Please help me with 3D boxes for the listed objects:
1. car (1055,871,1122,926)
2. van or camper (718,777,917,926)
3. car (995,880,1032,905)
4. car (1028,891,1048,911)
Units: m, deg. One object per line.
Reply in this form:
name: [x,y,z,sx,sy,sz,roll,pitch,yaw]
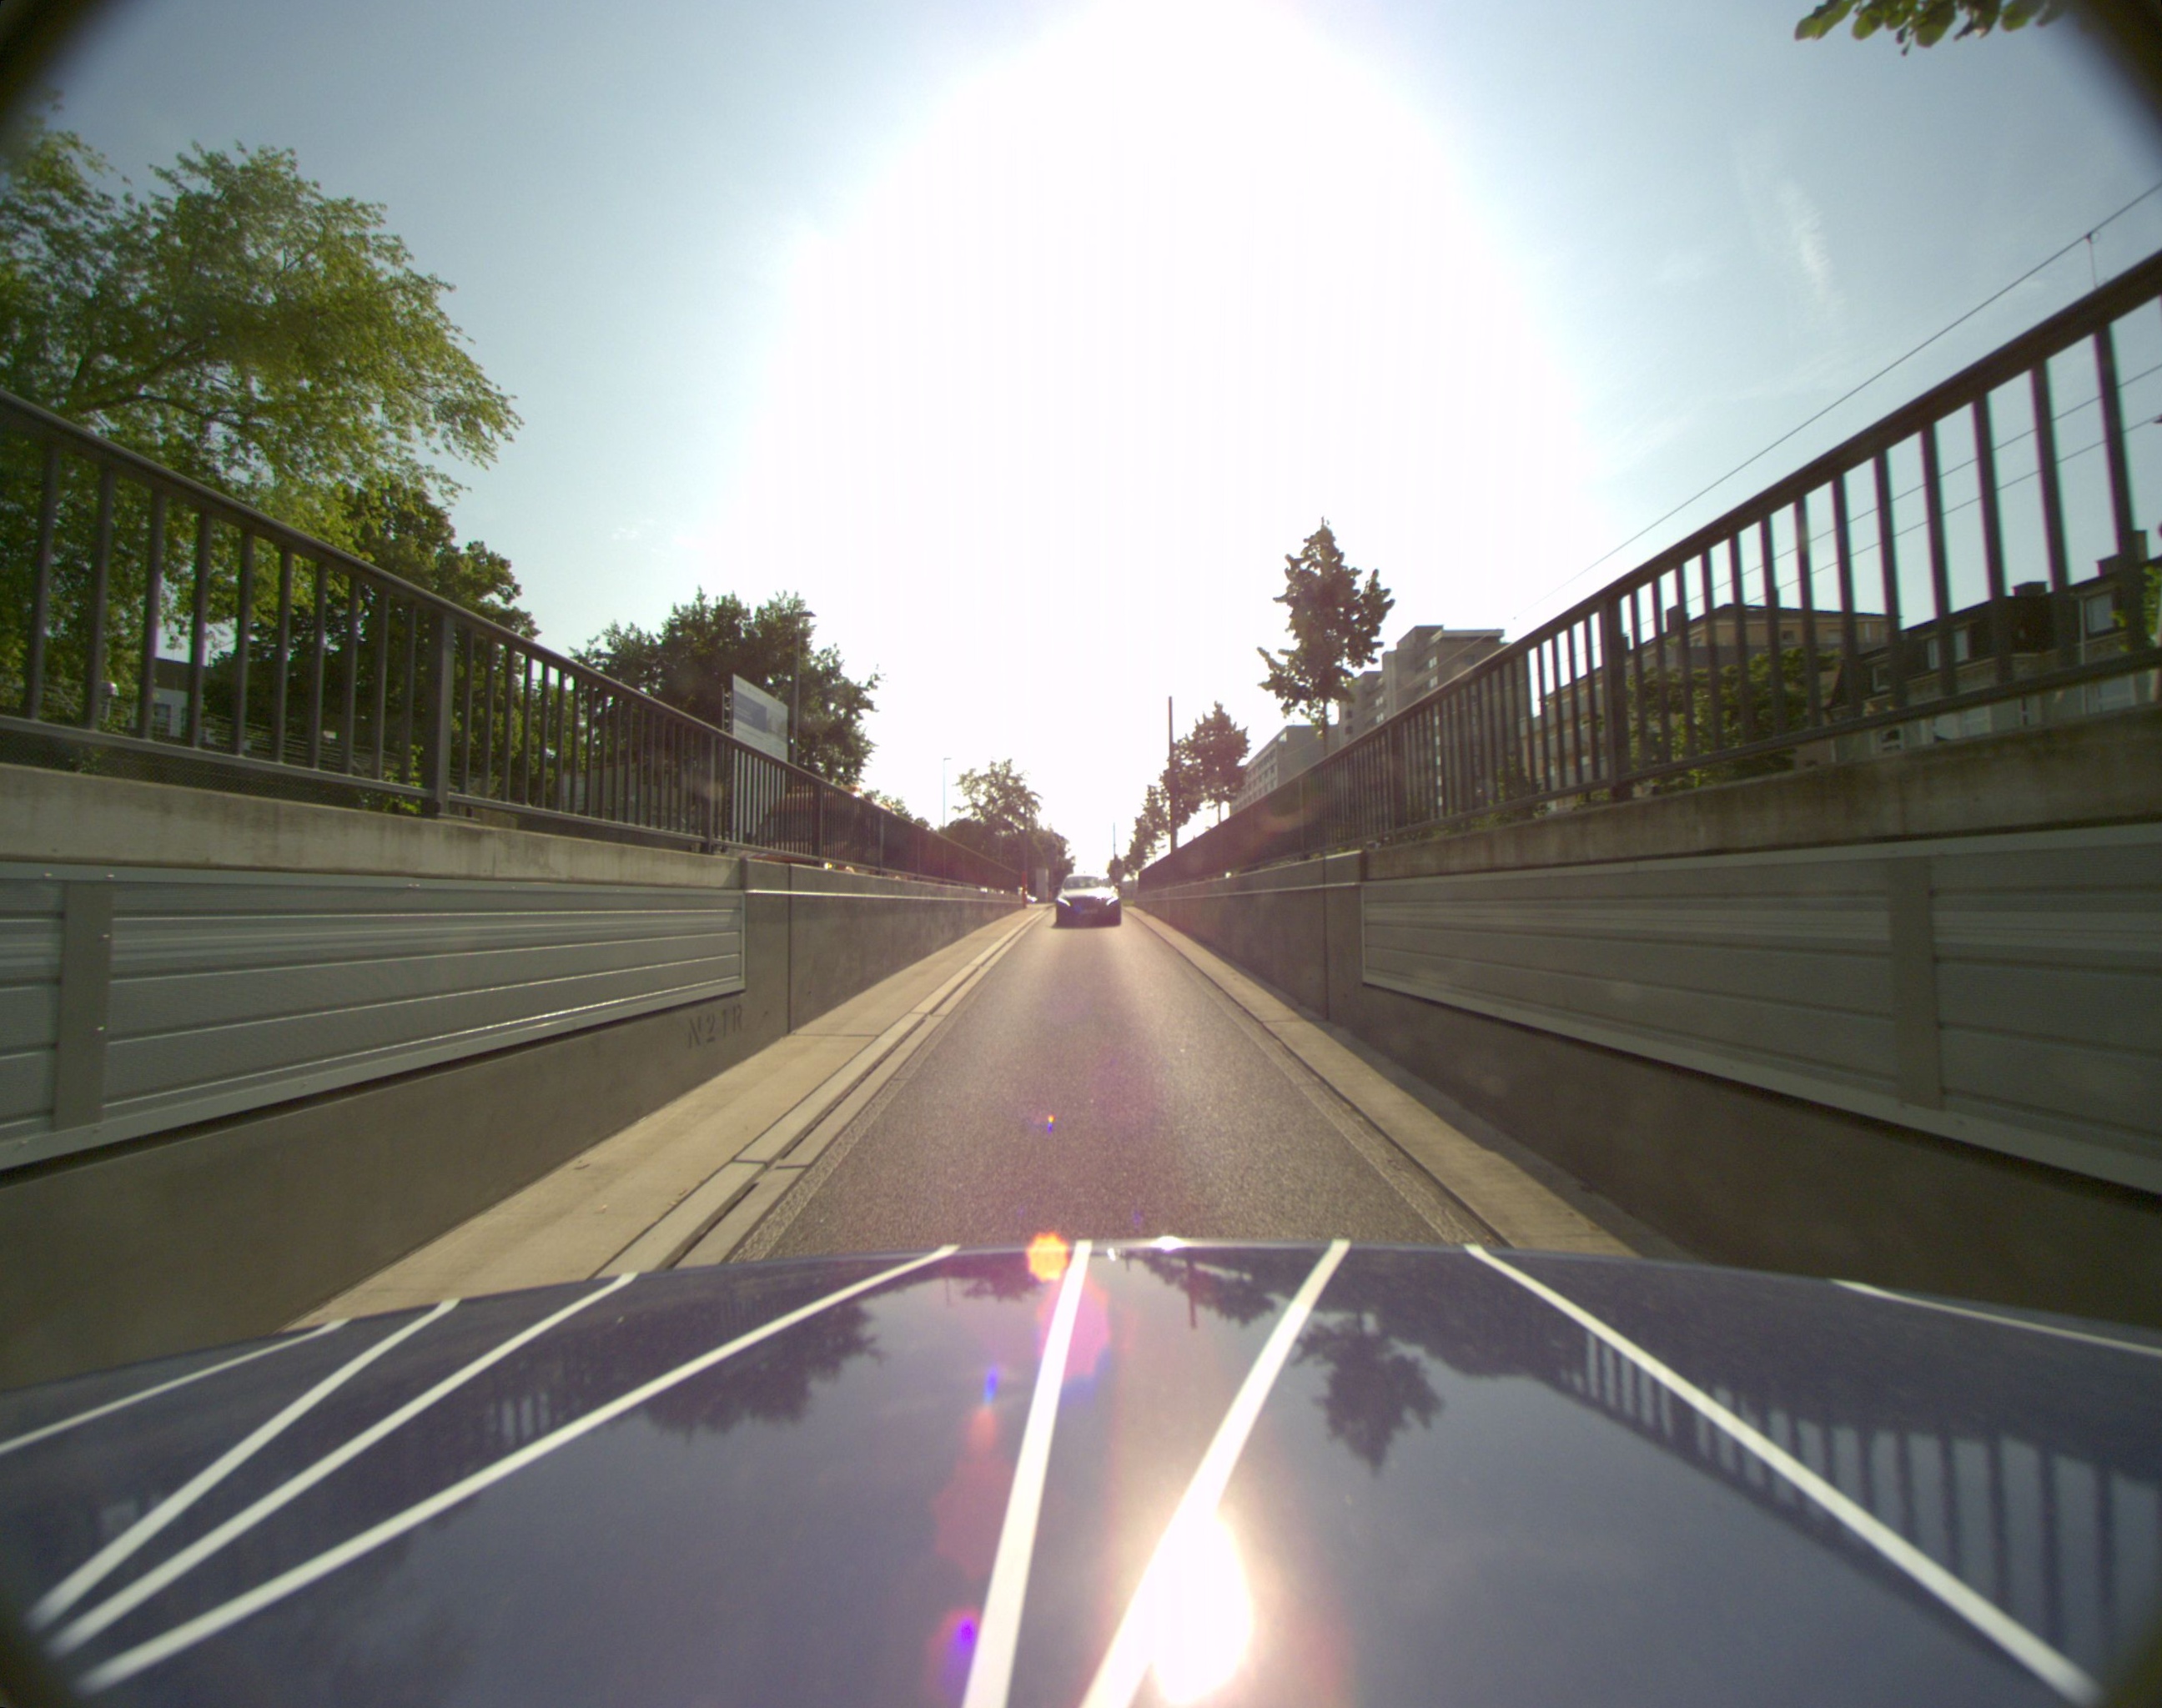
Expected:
car: [0.282,1.308,22.491,1.759,1.436,4.621,-1,-3,2]
van or camper: [-5.163,0.118,15.987,1.991,2.456,6.064,-3,-3,0]
car: [-4.514,2.632,51.263,1.897,1.560,4.253,-2,-4,2]
car: [-4.546,4.995,80.875,1.999,2.000,4.002,-3,-3,-2]
